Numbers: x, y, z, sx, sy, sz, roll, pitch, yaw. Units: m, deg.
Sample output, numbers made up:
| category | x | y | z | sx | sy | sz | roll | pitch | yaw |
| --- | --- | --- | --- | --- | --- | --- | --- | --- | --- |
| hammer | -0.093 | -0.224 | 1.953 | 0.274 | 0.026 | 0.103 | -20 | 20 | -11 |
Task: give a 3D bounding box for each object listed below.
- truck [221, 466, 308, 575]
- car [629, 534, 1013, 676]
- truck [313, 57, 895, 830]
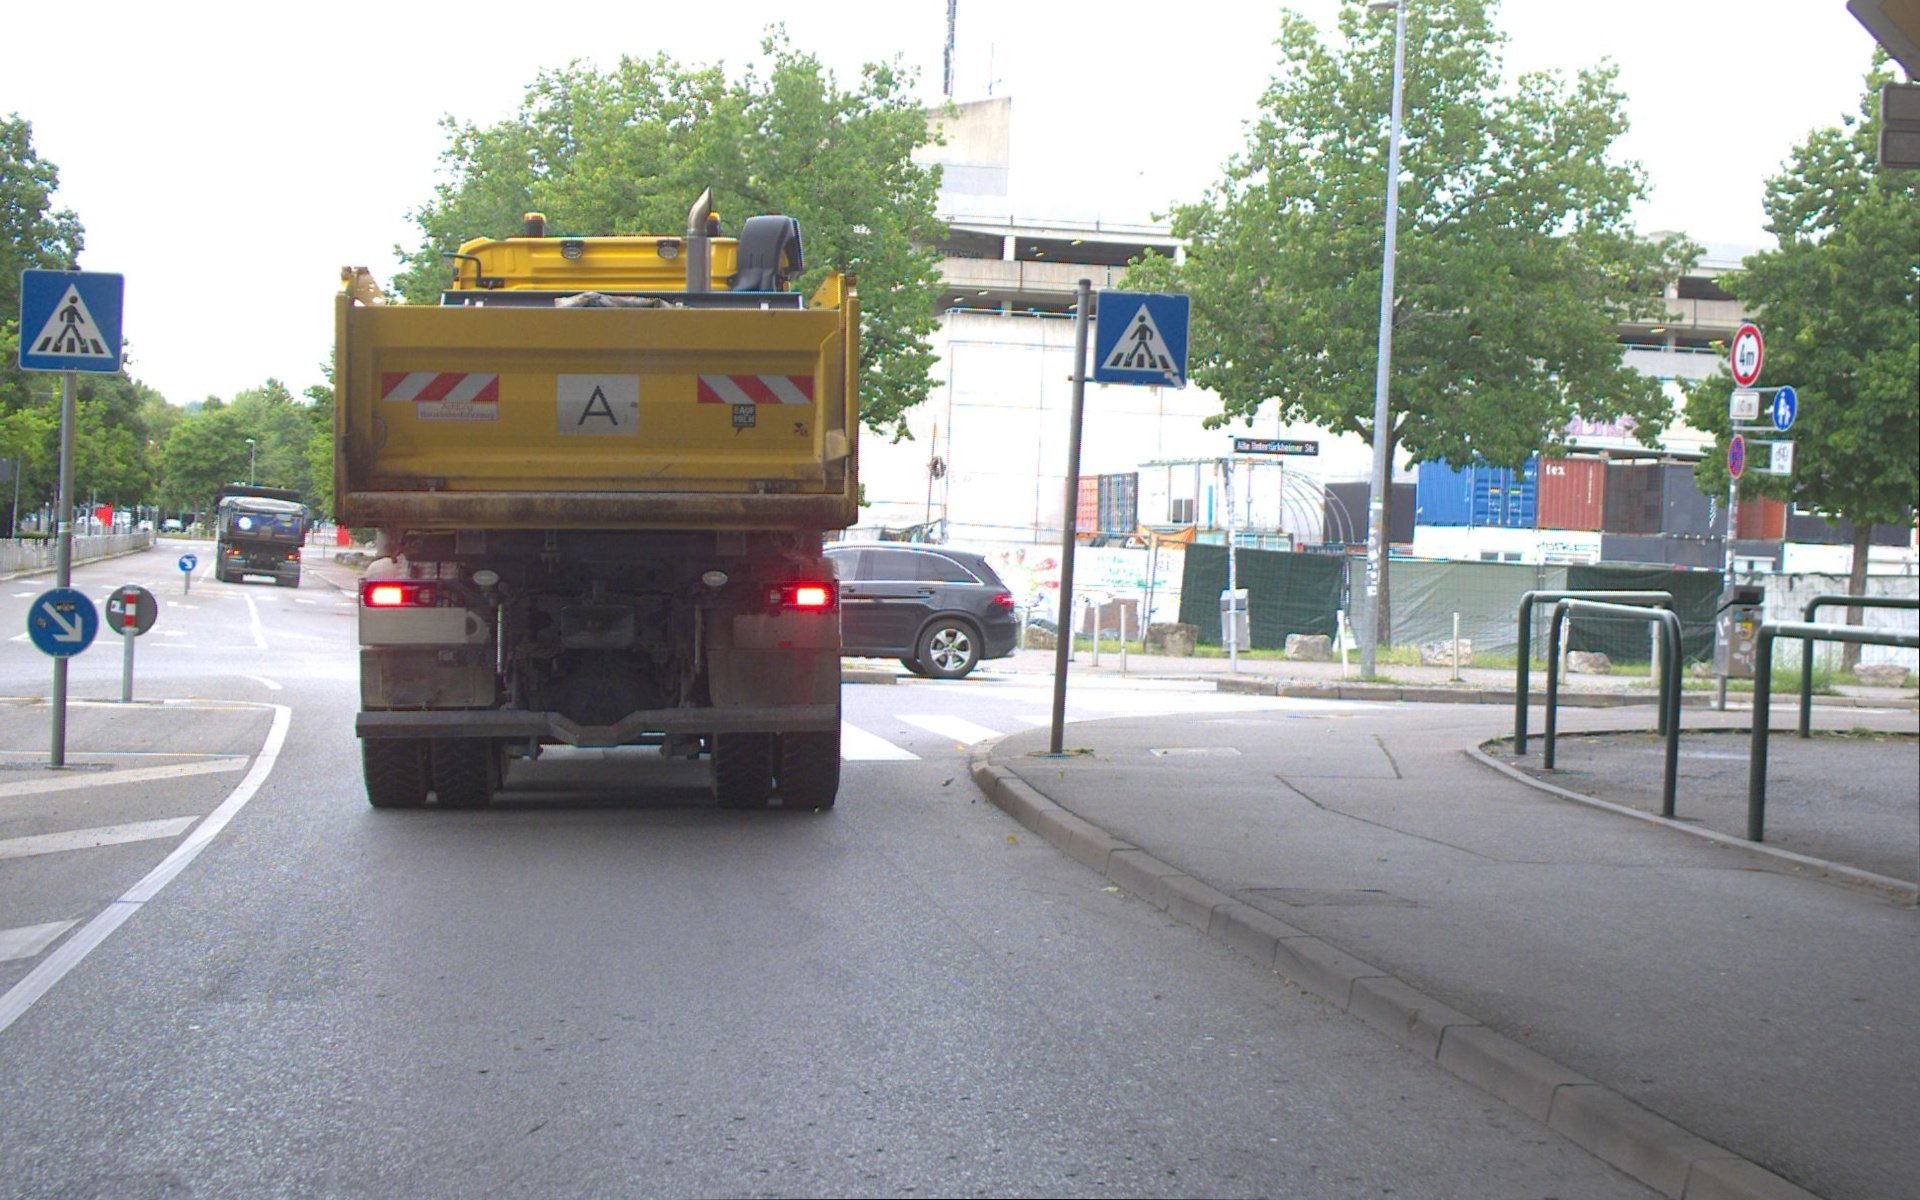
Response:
| category | x | y | z | sx | sy | sz | roll | pitch | yaw |
| --- | --- | --- | --- | --- | --- | --- | --- | --- | --- |
| truck | -23.610 | -2.632 | 116.530 | 2.672 | 3.546 | 7.925 | 0 | 0 | -13 |
| car | -1.693 | 0.047 | 42.046 | 4.534 | 1.569 | 1.846 | 2 | 1 | -2 |
| truck | -2.122 | -0.778 | 20.457 | 2.757 | 3.686 | 7.882 | 0 | 0 | -6 |
